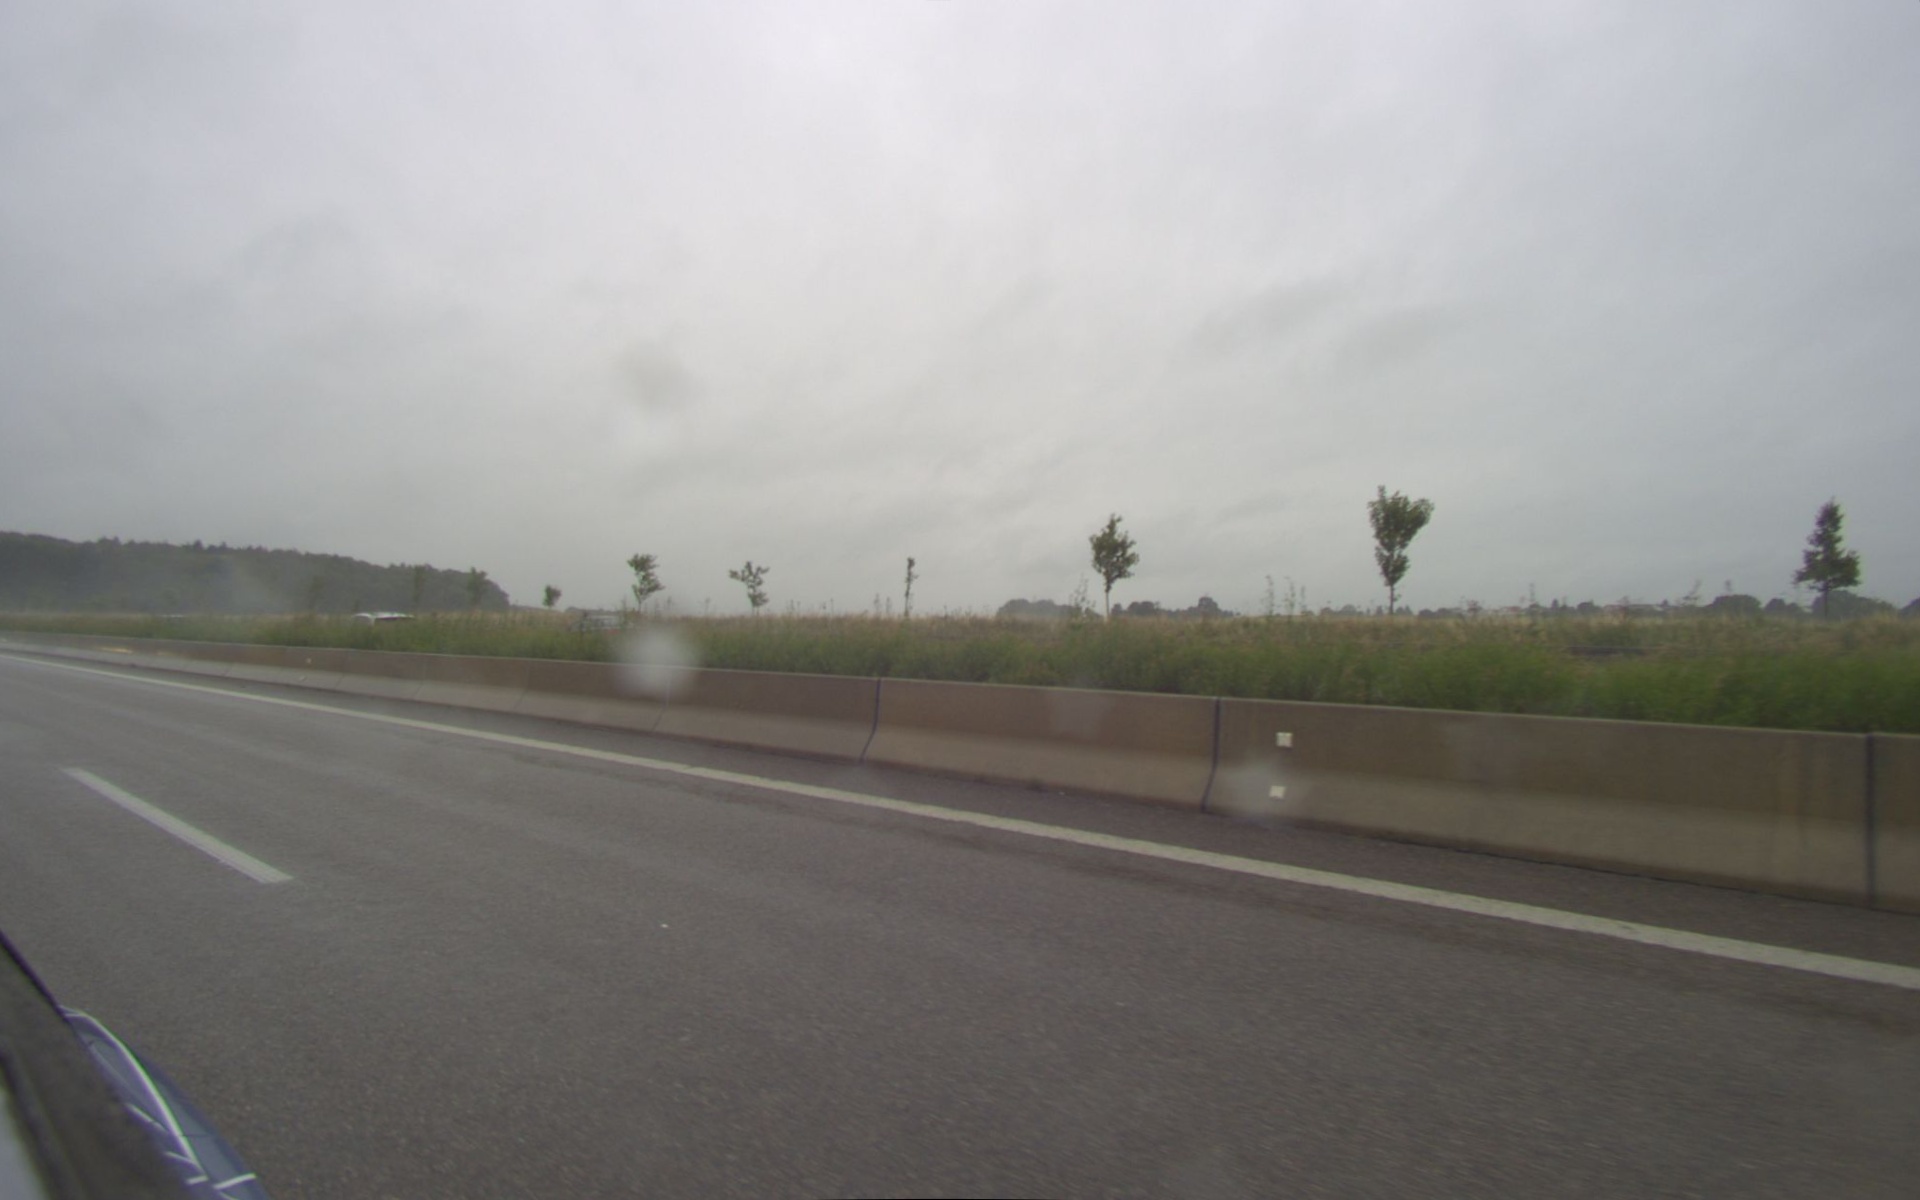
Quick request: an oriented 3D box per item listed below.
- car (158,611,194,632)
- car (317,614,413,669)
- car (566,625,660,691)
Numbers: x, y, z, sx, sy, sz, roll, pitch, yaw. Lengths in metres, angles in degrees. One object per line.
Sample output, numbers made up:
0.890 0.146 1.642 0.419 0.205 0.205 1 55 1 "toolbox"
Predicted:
-54.399 1.476 70.172 3.203 1.392 1.345 0 1 40 "car"
-19.732 1.311 33.494 3.935 1.630 1.564 0 1 41 "car"
-12.014 1.950 34.982 3.382 2.029 1.612 0 1 41 "car"
